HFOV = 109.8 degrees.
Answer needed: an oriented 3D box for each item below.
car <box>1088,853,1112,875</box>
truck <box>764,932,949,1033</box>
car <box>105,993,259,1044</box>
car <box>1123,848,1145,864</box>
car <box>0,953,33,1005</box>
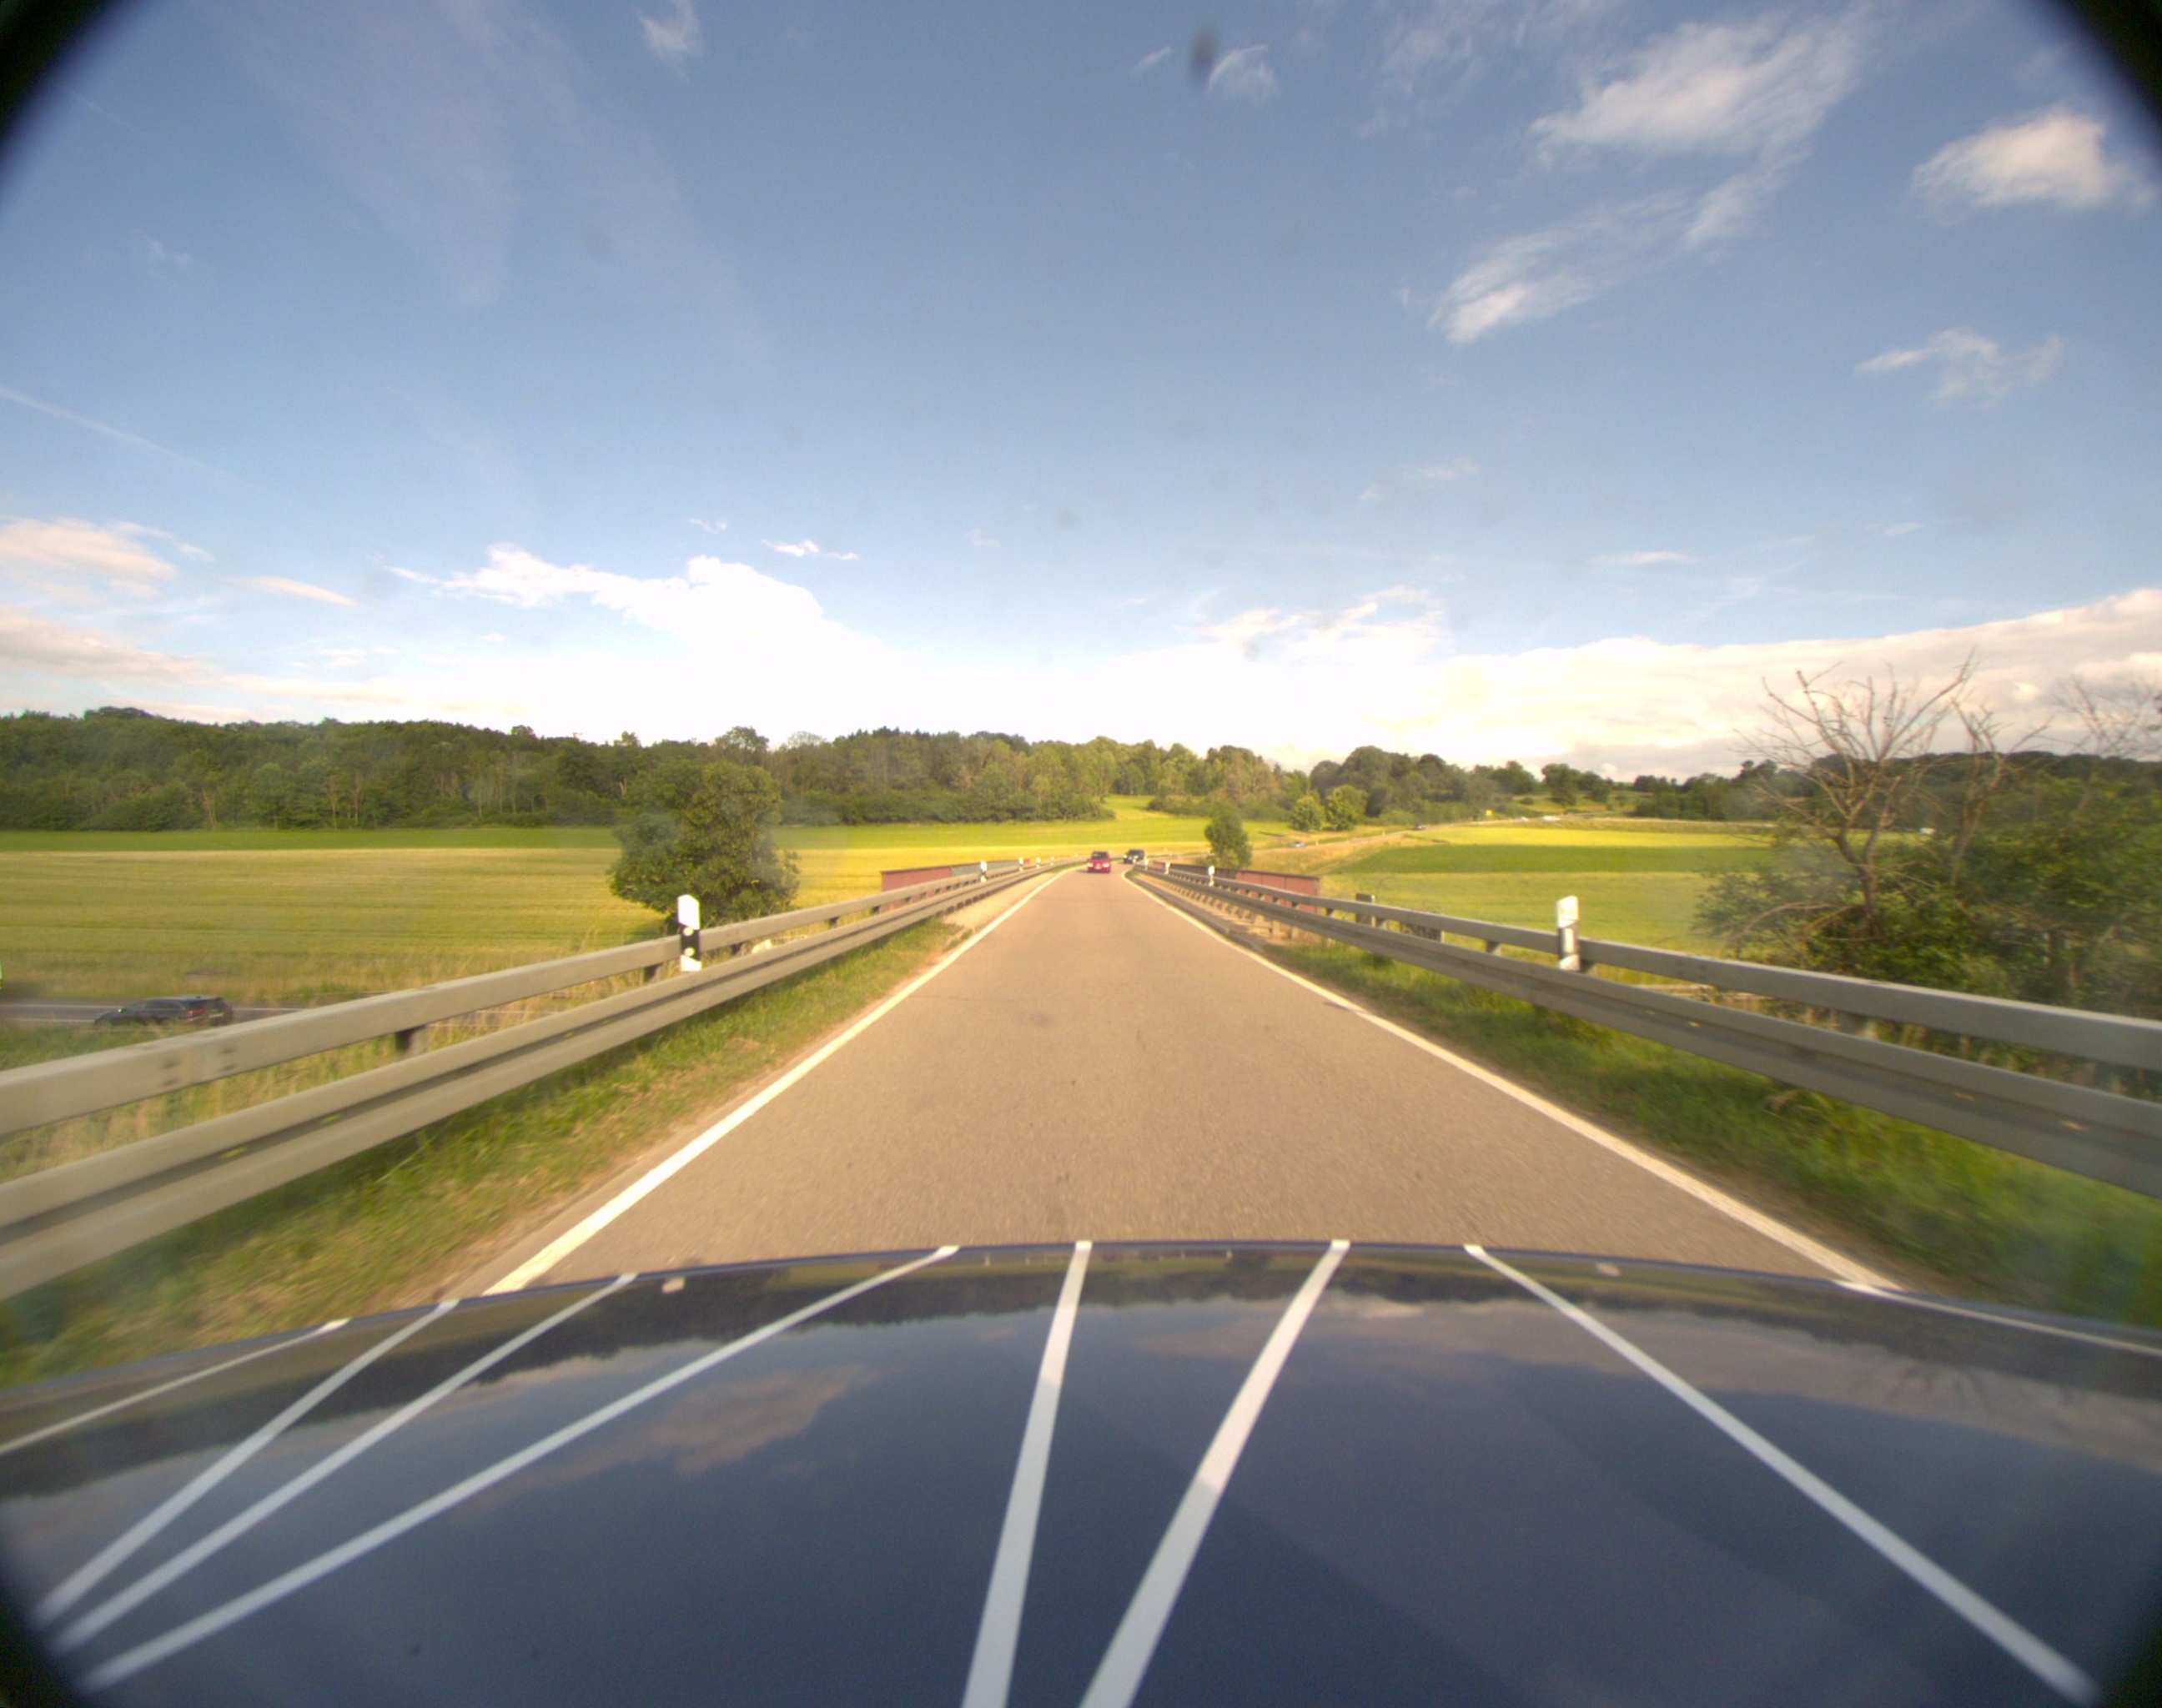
[{"bbox_3d":[1.552,0.775,62.897,1.821,1.645,3.999,1,1,-1],"label":"car"},{"bbox_3d":[-10.835,6.175,37.221,8.048,4.440,3.032,0,-2,3],"label":"truck"},{"bbox_3d":[-37.807,6.904,32.042,4.370,1.692,1.778,0,1,1],"label":"car"},{"bbox_3d":[6.121,0.191,87.644,1.819,1.602,4.003,2,3,14],"label":"car"},{"bbox_3d":[-58.471,6.419,39.090,6.115,2.568,2.376,0,-4,6],"label":"car"}]
